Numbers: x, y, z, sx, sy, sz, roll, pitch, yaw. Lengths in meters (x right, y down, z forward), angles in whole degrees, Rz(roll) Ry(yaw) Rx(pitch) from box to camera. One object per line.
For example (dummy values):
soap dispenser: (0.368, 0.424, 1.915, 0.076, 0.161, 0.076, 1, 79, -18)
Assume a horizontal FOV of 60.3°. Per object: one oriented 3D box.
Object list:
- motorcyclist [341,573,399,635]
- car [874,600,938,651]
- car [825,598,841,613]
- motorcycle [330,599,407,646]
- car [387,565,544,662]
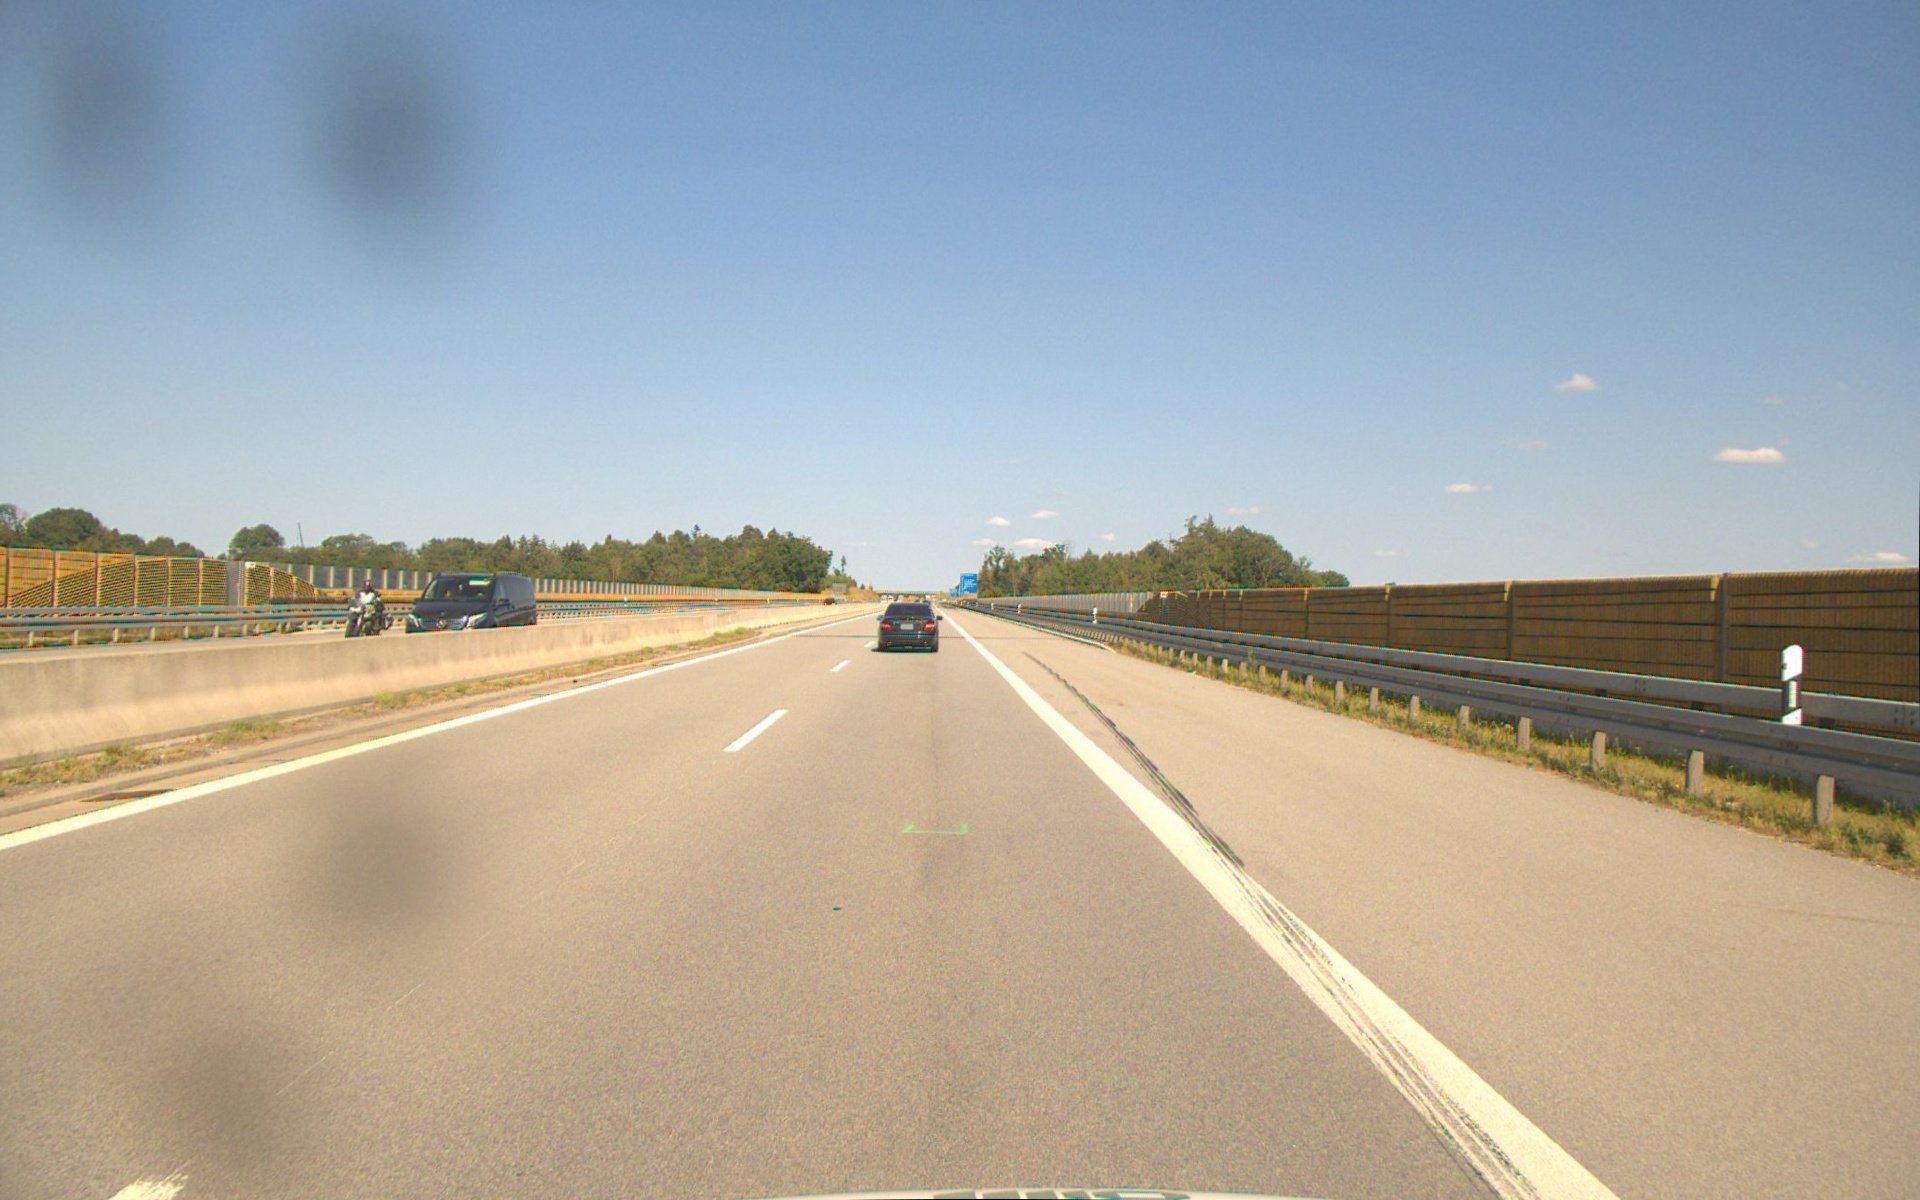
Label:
motorcyclist: (-15.386, 0.106, 43.158, 0.992, 1.591, 1.428, 1, 0, -1)
car: (-1.524, 0.714, 48.116, 1.753, 1.398, 3.916, 1, 0, -1)
car: (-18.101, 0.816, 235.537, 1.953, 2.049, 4.761, 1, 0, 0)
motorcycle: (-15.391, 0.570, 43.140, 0.992, 1.187, 2.867, 1, 0, -1)
car: (-11.274, 0.306, 38.149, 1.953, 2.049, 5.736, 1, 0, -1)
